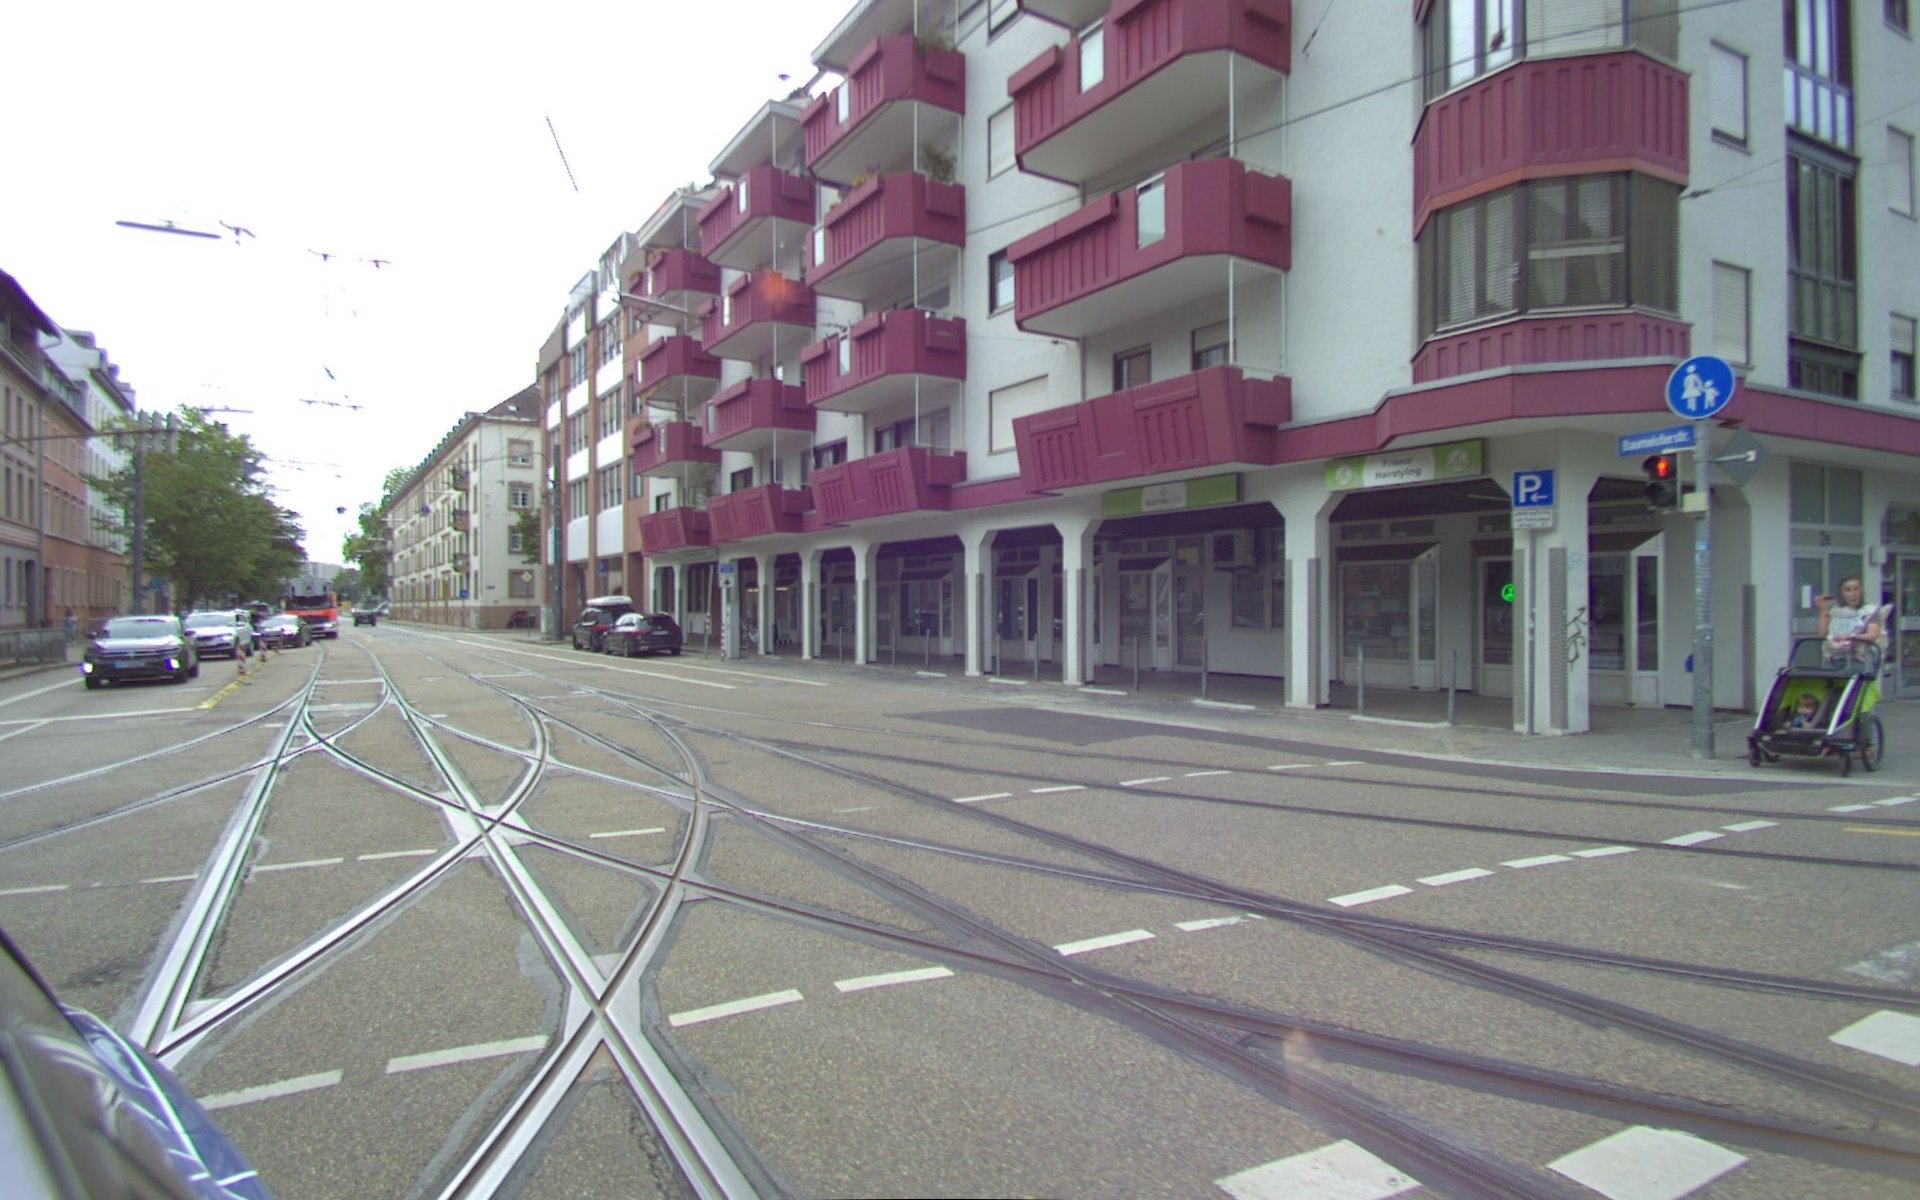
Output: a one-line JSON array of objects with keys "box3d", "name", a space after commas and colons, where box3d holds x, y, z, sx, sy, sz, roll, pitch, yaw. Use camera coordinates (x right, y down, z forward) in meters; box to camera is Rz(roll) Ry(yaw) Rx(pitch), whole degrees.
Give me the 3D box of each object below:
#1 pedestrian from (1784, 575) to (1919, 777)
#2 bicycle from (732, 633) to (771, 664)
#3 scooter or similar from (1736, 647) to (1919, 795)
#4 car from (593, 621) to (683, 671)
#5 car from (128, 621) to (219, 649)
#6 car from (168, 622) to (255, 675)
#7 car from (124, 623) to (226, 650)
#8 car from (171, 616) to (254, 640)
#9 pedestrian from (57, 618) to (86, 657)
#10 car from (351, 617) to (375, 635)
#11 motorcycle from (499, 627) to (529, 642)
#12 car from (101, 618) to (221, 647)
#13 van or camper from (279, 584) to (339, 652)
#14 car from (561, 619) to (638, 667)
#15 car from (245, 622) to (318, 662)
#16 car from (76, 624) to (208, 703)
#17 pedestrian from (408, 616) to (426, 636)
[{"box3d": [8.362, 0.666, 9.426, 0.934, 1.757, 0.814, 1, -1, -35], "name": "pedestrian"}, {"box3d": [-6.854, 1.588, 33.214, 0.557, 0.960, 1.653, 1, -1, -39], "name": "bicycle"}, {"box3d": [7.651, 1.010, 8.908, 1.179, 1.137, 0.949, 0, -1, -34], "name": "scooter or similar"}, {"box3d": [-11.073, 1.515, 34.552, 1.730, 1.491, 4.711, -2, 0, -33], "name": "car"}, {"box3d": [-49.960, 2.220, 64.334, 1.735, 1.711, 4.191, -1, -3, 33], "name": "car"}, {"box3d": [-25.326, 1.574, 34.381, 1.744, 1.603, 4.296, -1, 0, -28], "name": "car"}, {"box3d": [-45.553, 2.123, 58.803, 1.784, 1.491, 4.296, -1, -3, 33], "name": "car"}, {"box3d": [-55.922, 2.118, 75.796, 1.911, 1.711, 4.576, -1, -3, 33], "name": "car"}, {"box3d": [-40.200, 1.682, 45.791, 0.720, 1.701, 0.929, 5, -4, -33], "name": "pedestrian"}, {"box3d": [-54.890, 2.337, 93.003, 1.744, 1.549, 4.060, -1, 0, -32], "name": "car"}, {"box3d": [-32.345, 2.482, 73.416, 1.893, 1.094, 0.795, 1, -1, -33], "name": "motorcycle"}, {"box3d": [-41.596, 1.710, 52.785, 1.784, 1.484, 4.576, -1, -3, 33], "name": "car"}, {"box3d": [-36.246, 0.977, 56.302, 2.565, 3.447, 9.679, 0, -1, -33], "name": "van or camper"}, {"box3d": [-14.129, 1.610, 39.486, 1.782, 1.659, 4.711, -2, 0, -33], "name": "car"}, {"box3d": [-29.300, 1.785, 43.830, 1.744, 1.546, 4.062, -1, 0, -21], "name": "car"}, {"box3d": [-18.745, 1.384, 23.369, 1.744, 1.559, 4.295, -1, 0, -31], "name": "car"}, {"box3d": [-49.086, 2.335, 91.554, 1.009, 1.856, 0.997, 0, -1, 13], "name": "pedestrian"}]
